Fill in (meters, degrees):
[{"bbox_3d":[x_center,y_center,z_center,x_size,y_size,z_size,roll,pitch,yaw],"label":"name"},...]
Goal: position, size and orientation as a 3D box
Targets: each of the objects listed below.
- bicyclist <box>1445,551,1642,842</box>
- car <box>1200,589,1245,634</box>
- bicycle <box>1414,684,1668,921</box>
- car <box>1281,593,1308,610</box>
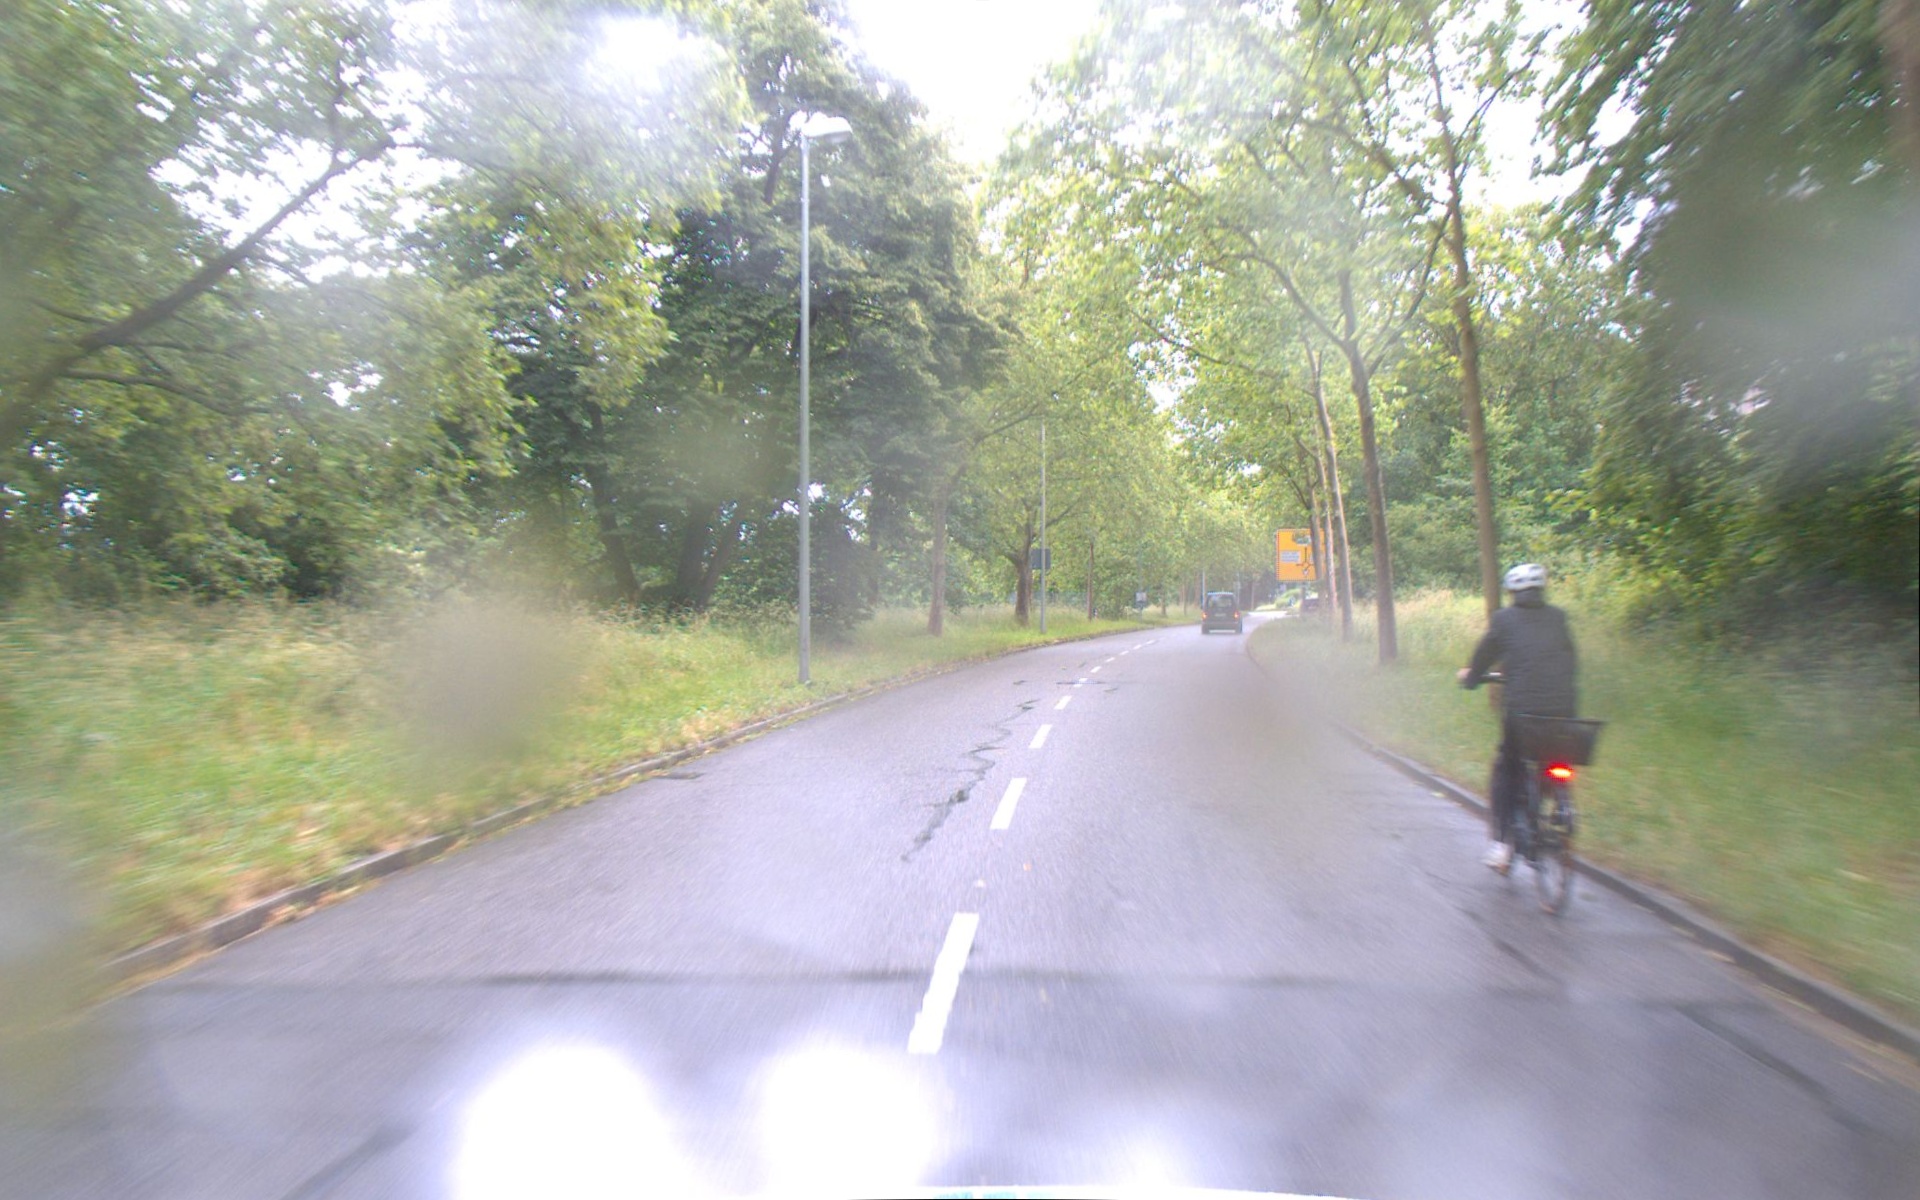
[{"bbox_3d":[3.068,0.483,8.781,0.714,1.435,0.973,2,0,3],"label":"bicyclist"},{"bbox_3d":[12.019,0.513,75.703,1.943,1.959,4.003,1,0,10],"label":"car"},{"bbox_3d":[3.066,1.020,8.965,0.714,0.991,2.174,2,0,4],"label":"bicycle"},{"bbox_3d":[31.445,0.129,155.397,1.758,1.537,3.999,1,0,22],"label":"car"}]
